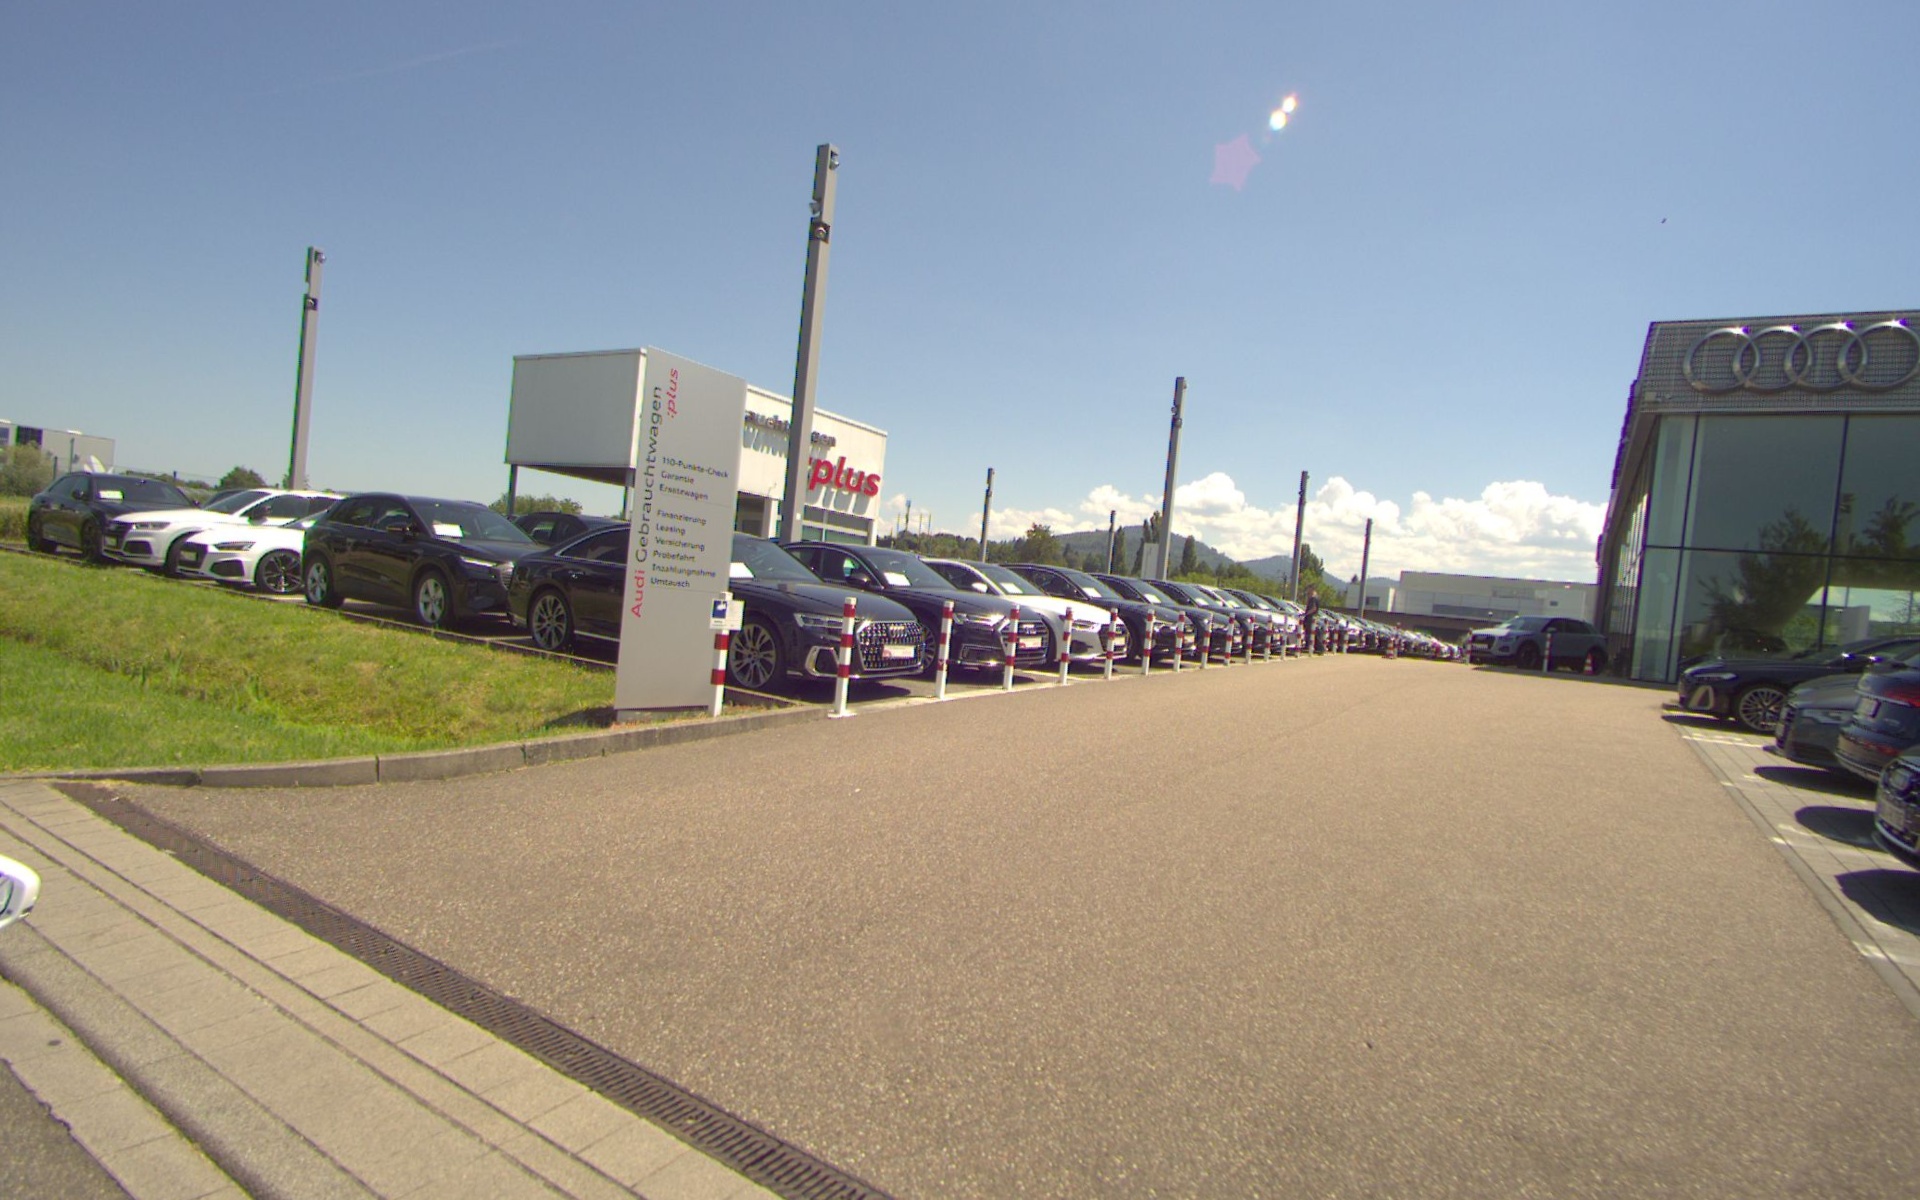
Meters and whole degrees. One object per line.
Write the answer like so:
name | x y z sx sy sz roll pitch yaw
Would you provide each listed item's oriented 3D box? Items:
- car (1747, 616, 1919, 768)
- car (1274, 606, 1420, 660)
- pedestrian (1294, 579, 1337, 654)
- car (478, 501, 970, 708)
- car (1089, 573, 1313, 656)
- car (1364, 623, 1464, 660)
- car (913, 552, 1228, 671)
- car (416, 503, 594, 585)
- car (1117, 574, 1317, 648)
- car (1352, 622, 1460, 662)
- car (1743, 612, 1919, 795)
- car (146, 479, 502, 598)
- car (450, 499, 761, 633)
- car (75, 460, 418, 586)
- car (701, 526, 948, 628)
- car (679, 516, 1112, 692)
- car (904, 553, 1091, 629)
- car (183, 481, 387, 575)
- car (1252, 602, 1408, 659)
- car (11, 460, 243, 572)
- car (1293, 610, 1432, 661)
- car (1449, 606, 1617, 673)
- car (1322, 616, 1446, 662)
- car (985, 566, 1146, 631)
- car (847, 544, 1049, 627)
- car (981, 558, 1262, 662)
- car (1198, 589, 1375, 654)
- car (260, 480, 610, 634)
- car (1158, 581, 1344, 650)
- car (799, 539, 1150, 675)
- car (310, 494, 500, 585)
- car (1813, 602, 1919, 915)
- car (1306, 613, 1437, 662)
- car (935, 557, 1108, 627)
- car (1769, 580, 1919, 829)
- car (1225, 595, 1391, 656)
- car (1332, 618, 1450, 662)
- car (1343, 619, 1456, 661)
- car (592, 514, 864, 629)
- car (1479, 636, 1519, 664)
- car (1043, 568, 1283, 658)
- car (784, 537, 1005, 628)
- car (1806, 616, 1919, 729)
car | 11.451 1.086 10.418 4.905 1.476 1.961 4 1 32
car | 14.767 1.212 38.493 4.822 1.477 2.023 6 4 32
pedestrian | 8.715 0.409 24.676 0.627 1.717 0.711 9 3 31
car | -2.646 -0.093 10.694 5.153 1.536 2.023 6 4 32
car | 5.833 0.289 24.545 4.822 1.477 2.023 6 4 32
car | 25.807 2.343 57.206 4.822 1.477 2.023 6 4 32
car | 1.844 0.115 17.535 4.994 1.477 2.023 6 4 32
car | -12.074 -1.492 26.589 4.731 1.702 2.024 7 2 33
car | 6.948 0.255 27.386 4.822 1.477 2.023 6 4 32
car | 23.188 2.146 52.380 4.822 1.477 2.023 6 4 32
car | 9.884 1.026 8.468 4.905 1.476 1.961 4 1 32
car | -10.265 -0.929 16.644 1.997 1.476 4.531 6 2 30
car | -5.595 -0.556 15.688 4.701 1.611 2.025 6 2 32
car | -12.509 -1.284 17.969 1.997 1.715 4.531 6 2 30
car | -2.821 -0.487 20.503 4.701 1.611 2.025 6 2 32
car | -0.976 -0.070 12.879 5.386 1.595 1.895 6 4 32
car | 1.005 -0.266 27.857 4.701 1.611 2.025 6 2 32
car | -14.886 -1.607 22.121 4.731 1.632 2.024 7 2 33
car | 13.231 1.025 36.094 4.822 1.477 2.023 6 4 32
car | -16.086 -1.641 19.345 5.026 1.715 2.024 7 2 33
car | 16.231 1.380 40.684 4.822 1.477 2.023 6 4 32
car | 16.025 1.100 28.164 4.000 1.575 1.958 4 1 -22
car | 19.227 1.723 45.717 4.822 1.477 2.023 6 4 32
car | 3.387 -0.069 32.693 4.701 1.611 2.025 6 2 32
car | -0.350 -0.382 25.707 4.699 1.611 2.025 6 2 31
car | 3.117 0.163 19.883 4.994 1.476 2.025 6 2 32
car | 10.174 0.603 31.450 4.822 1.477 2.023 6 4 32
car | -7.096 -0.605 13.453 4.701 1.594 2.025 6 2 32
car | 8.556 0.405 29.762 4.822 1.477 2.023 6 4 32
car | 0.125 0.016 15.407 4.994 1.477 2.023 6 4 32
car | -13.468 -1.492 24.324 4.731 1.748 2.024 7 2 33
car | 7.091 0.926 4.296 4.905 1.476 1.961 4 1 32
car | 17.603 1.558 43.121 4.822 1.477 2.023 6 4 32
car | 1.816 -0.241 30.198 4.701 1.611 2.025 6 2 32
car | 8.544 0.856 6.449 4.905 1.619 1.961 4 1 32
car | 11.631 0.809 33.729 4.822 1.477 2.023 6 4 32
car | 20.456 1.870 47.833 4.822 1.477 2.023 6 4 32
car | 21.913 1.956 50.250 4.822 1.477 2.023 6 4 32
car | -4.281 -0.531 18.287 4.701 1.611 2.025 6 2 32
car | 35.640 3.299 66.454 1.968 1.627 4.045 5 1 32
car | 4.518 0.223 22.676 4.822 1.477 2.023 6 4 32
car | -1.562 -0.423 23.199 4.701 1.611 2.025 6 2 32
car | 16.310 1.246 15.301 4.905 1.642 1.961 4 1 32
